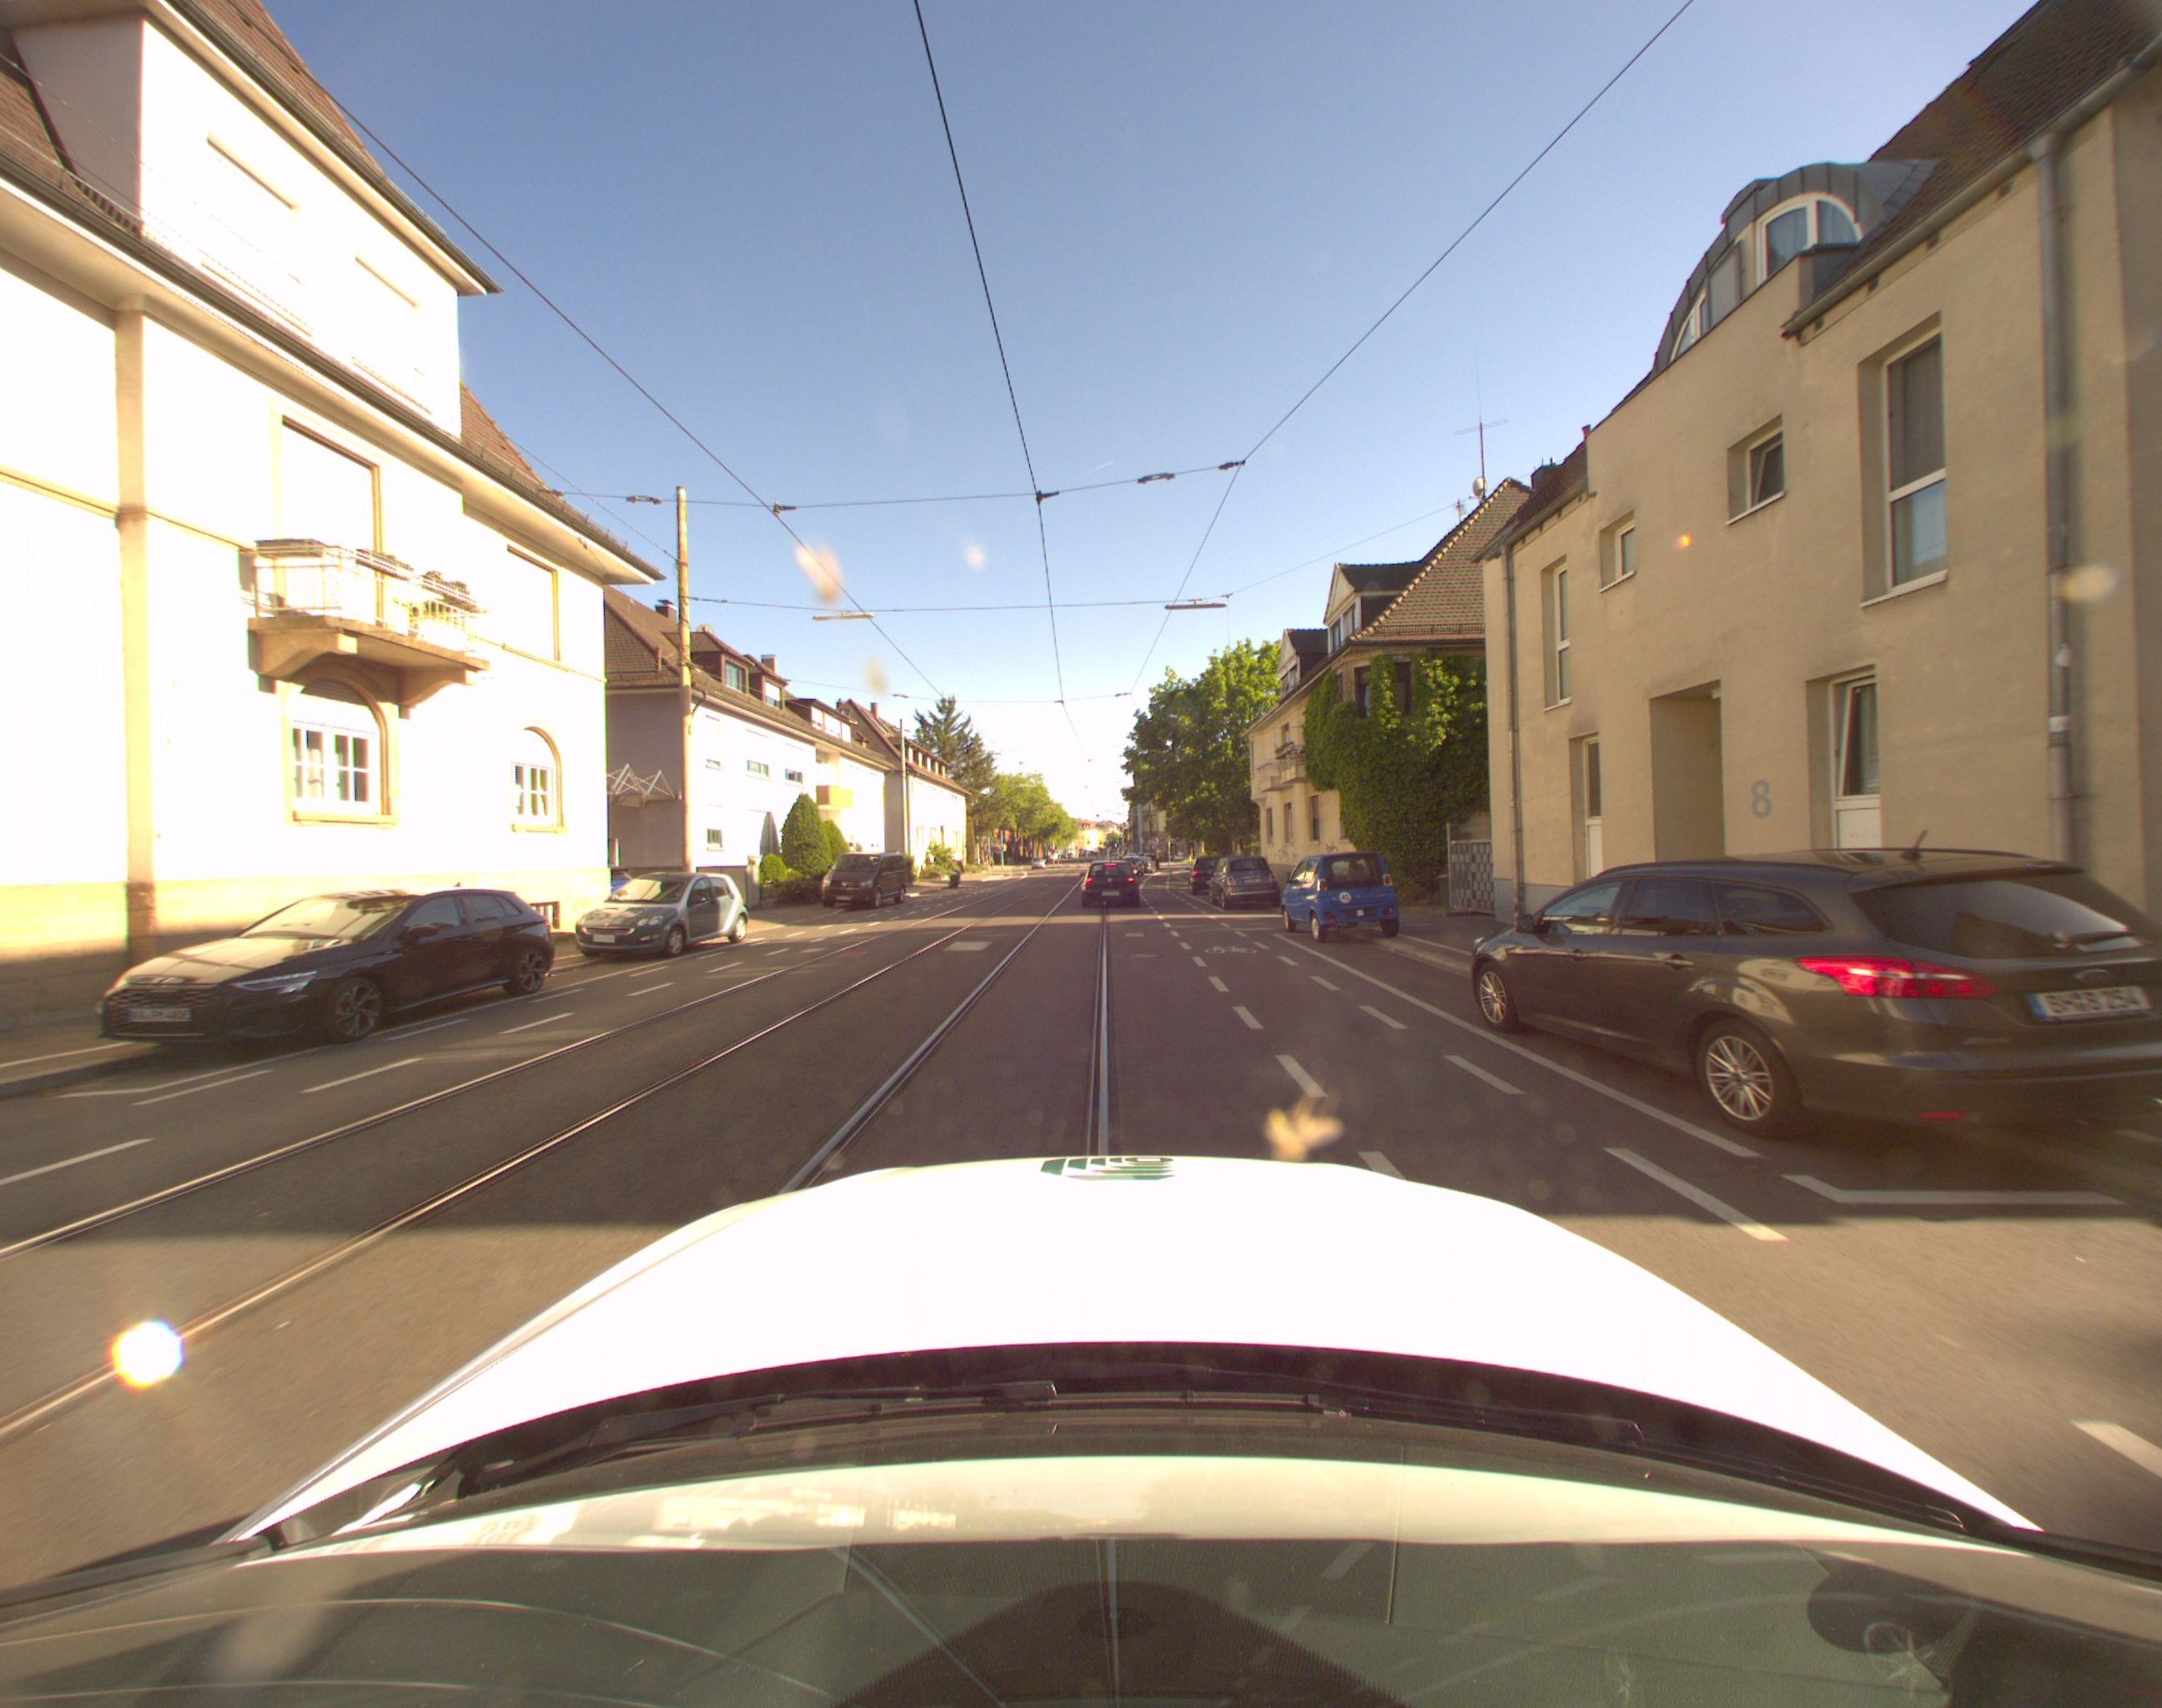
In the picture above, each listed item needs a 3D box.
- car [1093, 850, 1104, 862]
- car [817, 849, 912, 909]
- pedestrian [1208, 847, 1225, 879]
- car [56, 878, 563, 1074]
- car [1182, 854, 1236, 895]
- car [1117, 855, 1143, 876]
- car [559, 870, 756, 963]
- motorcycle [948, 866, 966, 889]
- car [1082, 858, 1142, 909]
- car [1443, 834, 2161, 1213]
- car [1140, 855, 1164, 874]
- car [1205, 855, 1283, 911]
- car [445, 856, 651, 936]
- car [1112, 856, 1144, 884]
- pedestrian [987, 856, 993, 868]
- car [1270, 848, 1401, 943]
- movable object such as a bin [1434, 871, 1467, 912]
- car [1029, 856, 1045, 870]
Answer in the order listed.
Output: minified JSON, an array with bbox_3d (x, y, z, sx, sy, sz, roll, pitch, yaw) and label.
[{"bbox_3d":[2.931,0.315,138.194,1.781,1.860,4.000,1,0,0],"label":"car"},{"bbox_3d":[-7.753,0.830,29.712,1.898,2.014,4.953,0,0,3],"label":"car"},{"bbox_3d":[7.404,0.507,44.410,0.715,1.688,0.870,-3,0,0],"label":"pedestrian"},{"bbox_3d":[-7.908,1.096,9.059,1.658,1.477,4.247,-1,0,-2],"label":"car"},{"bbox_3d":[5.049,0.781,32.490,1.659,1.564,3.772,0,0,2],"label":"car"},{"bbox_3d":[3.549,0.796,58.066,1.731,1.441,3.815,-1,0,5],"label":"car"},{"bbox_3d":[-7.910,1.091,15.641,1.670,1.477,3.837,0,0,2],"label":"car"},{"bbox_3d":[-6.852,1.279,45.153,0.534,1.162,2.173,-3,0,2],"label":"motorcycle"},{"bbox_3d":[0.950,0.849,25.161,1.709,1.402,4.008,0,0,2],"label":"car"},{"bbox_3d":[4.366,0.709,5.667,1.739,1.599,4.433,0,0,0],"label":"car"},{"bbox_3d":[5.764,0.824,66.510,1.565,1.311,3.646,-2,2,-1],"label":"car"},{"bbox_3d":[4.748,0.787,24.074,1.596,1.525,3.548,0,0,0],"label":"car"},{"bbox_3d":[-13.179,1.009,20.316,3.913,1.783,1.754,-2,0,0],"label":"car"},{"bbox_3d":[2.498,0.853,43.846,1.628,1.372,3.759,-2,0,2],"label":"car"},{"bbox_3d":[-12.656,1.067,113.438,0.610,1.689,0.729,1,0,-17],"label":"pedestrian"},{"bbox_3d":[4.694,0.698,15.419,1.452,1.599,3.293,0,0,0],"label":"car"},{"bbox_3d":[8.518,0.863,18.777,0.491,0.916,0.514,-2,0,-1],"label":"movable object such as a bin"},{"bbox_3d":[-4.934,1.012,91.751,1.569,1.477,3.441,-2,0,1],"label":"car"}]
